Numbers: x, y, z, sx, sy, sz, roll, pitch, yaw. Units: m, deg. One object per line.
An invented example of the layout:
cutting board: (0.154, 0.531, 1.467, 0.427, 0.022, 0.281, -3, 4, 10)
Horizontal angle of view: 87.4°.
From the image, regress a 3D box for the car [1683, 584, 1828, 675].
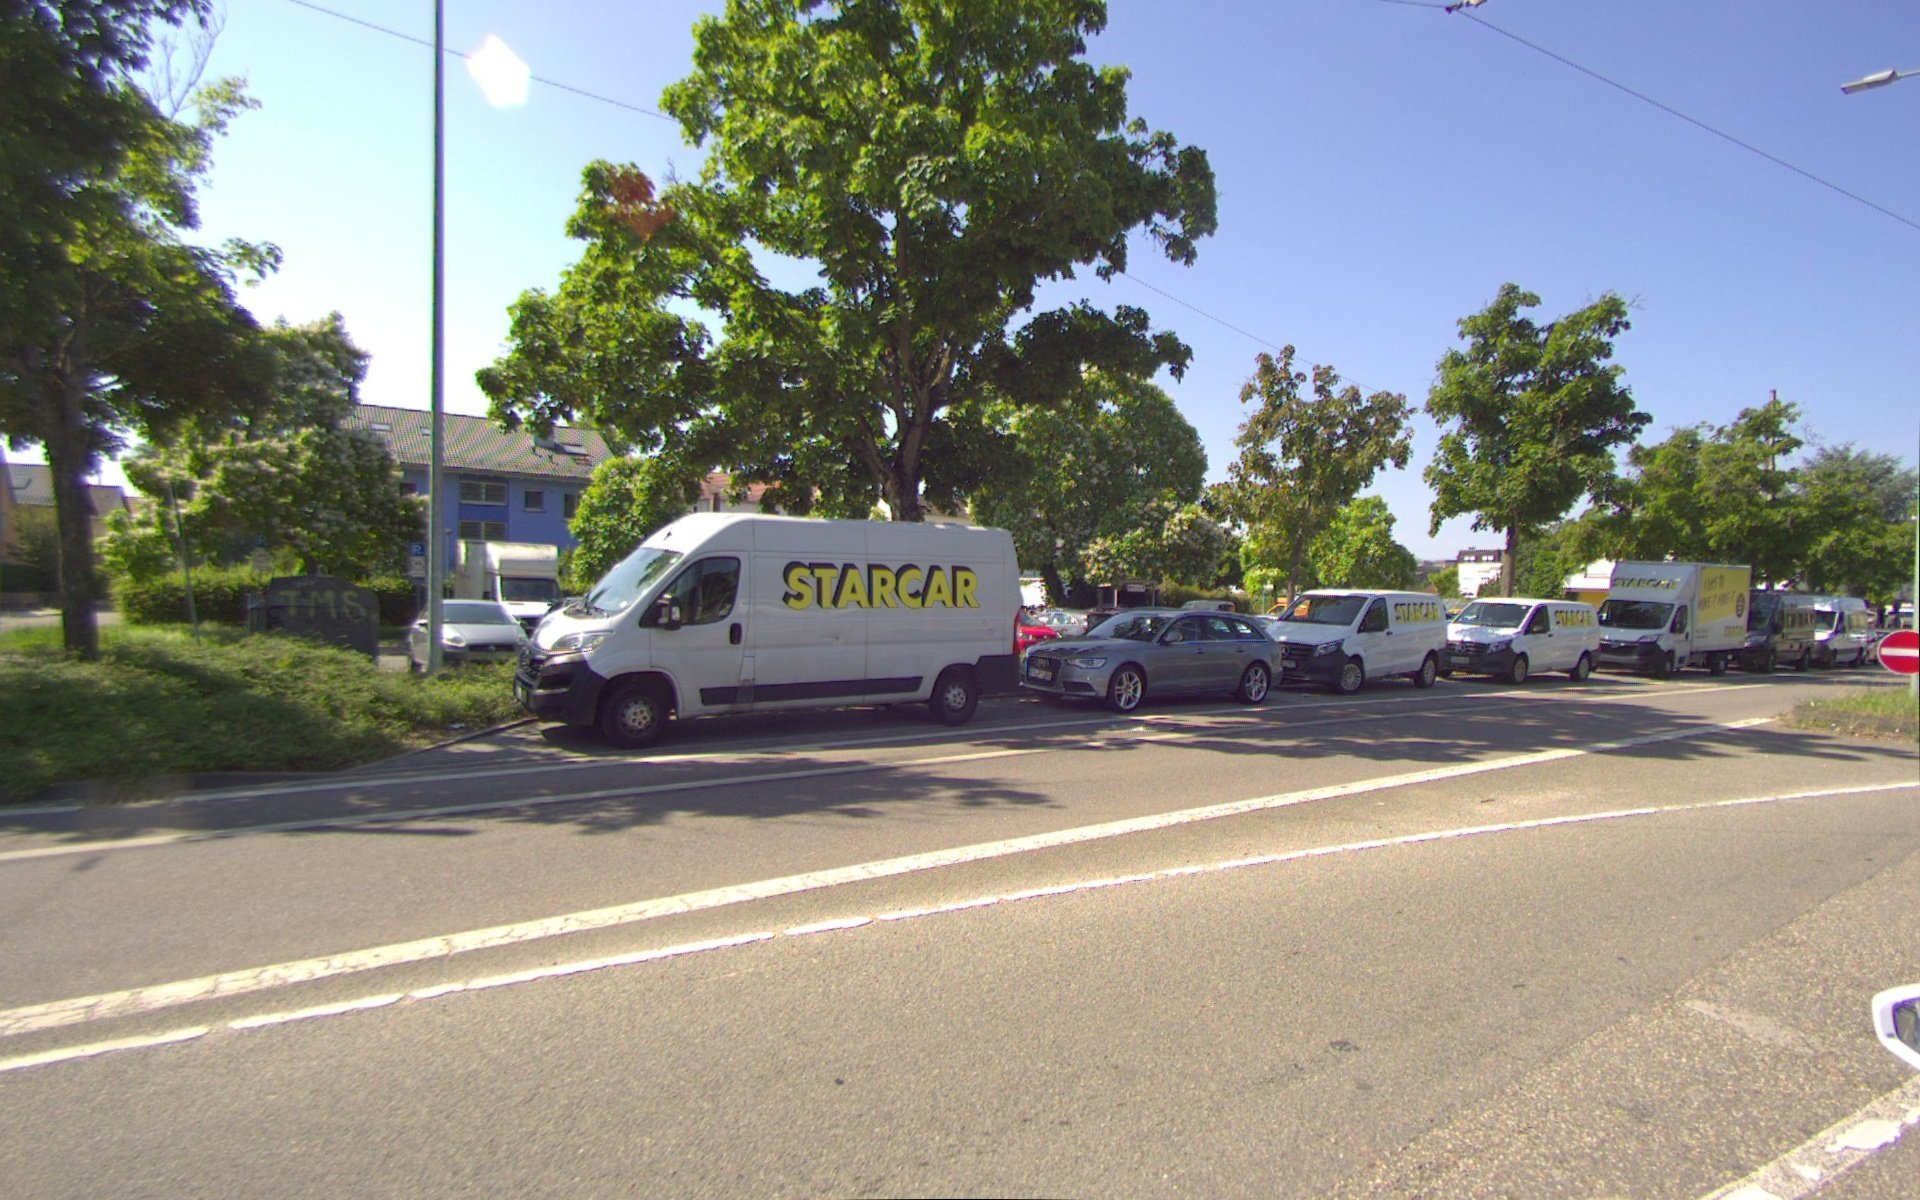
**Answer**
car: (26.442, 0.935, 33.313, 6.022, 2.704, 2.180, 1, 2, -37)

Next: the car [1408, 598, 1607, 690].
car: (13.065, 0.989, 23.850, 5.136, 1.966, 2.180, 1, 0, -37)

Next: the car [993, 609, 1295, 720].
car: (3.002, 0.926, 15.798, 4.840, 1.474, 1.918, 1, 0, -37)

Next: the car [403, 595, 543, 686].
car: (-9.484, 0.707, 19.392, 1.649, 1.564, 3.957, 2, -1, -38)

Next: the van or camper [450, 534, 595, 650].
van or camper: (-14.028, -0.234, 31.880, 2.559, 3.288, 6.896, 1, 0, -38)

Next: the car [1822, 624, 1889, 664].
car: (36.753, 1.791, 41.212, 3.642, 1.510, 1.282, 1, 2, -37)

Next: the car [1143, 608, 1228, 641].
car: (11.334, 1.214, 50.718, 1.771, 1.565, 3.954, 1, 0, -39)

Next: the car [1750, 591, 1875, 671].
car: (31.744, 1.114, 37.332, 5.922, 2.666, 2.180, 1, 2, -37)

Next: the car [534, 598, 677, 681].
car: (-7.506, 0.764, 21.058, 1.649, 1.564, 3.957, 2, -1, -38)

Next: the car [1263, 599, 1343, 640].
car: (19.665, 1.091, 57.644, 1.895, 2.229, 3.954, 1, 0, -39)

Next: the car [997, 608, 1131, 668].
car: (2.945, 1.050, 29.216, 1.648, 1.564, 3.958, 1, 0, -36)

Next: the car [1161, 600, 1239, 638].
car: (13.627, 1.073, 57.164, 1.895, 2.030, 3.954, 1, 0, -39)

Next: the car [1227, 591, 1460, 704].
car: (7.741, 0.860, 20.013, 5.144, 1.966, 2.177, 1, 0, -41)

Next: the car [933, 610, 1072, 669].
car: (1.102, 1.031, 27.587, 1.716, 1.428, 3.958, 1, 0, -36)

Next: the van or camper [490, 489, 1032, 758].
van or camper: (-2.192, 0.276, 12.215, 6.086, 2.548, 2.242, 1, 0, -36)

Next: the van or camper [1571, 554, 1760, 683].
van or camper: (20.174, 0.497, 28.586, 6.705, 3.285, 2.181, 1, 2, -36)

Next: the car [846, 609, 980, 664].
car: (-1.299, 0.906, 26.398, 1.648, 1.287, 3.888, 2, -1, -36)

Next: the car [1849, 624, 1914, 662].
car: (40.338, 1.842, 43.942, 4.310, 1.510, 1.282, 1, 2, -37)
